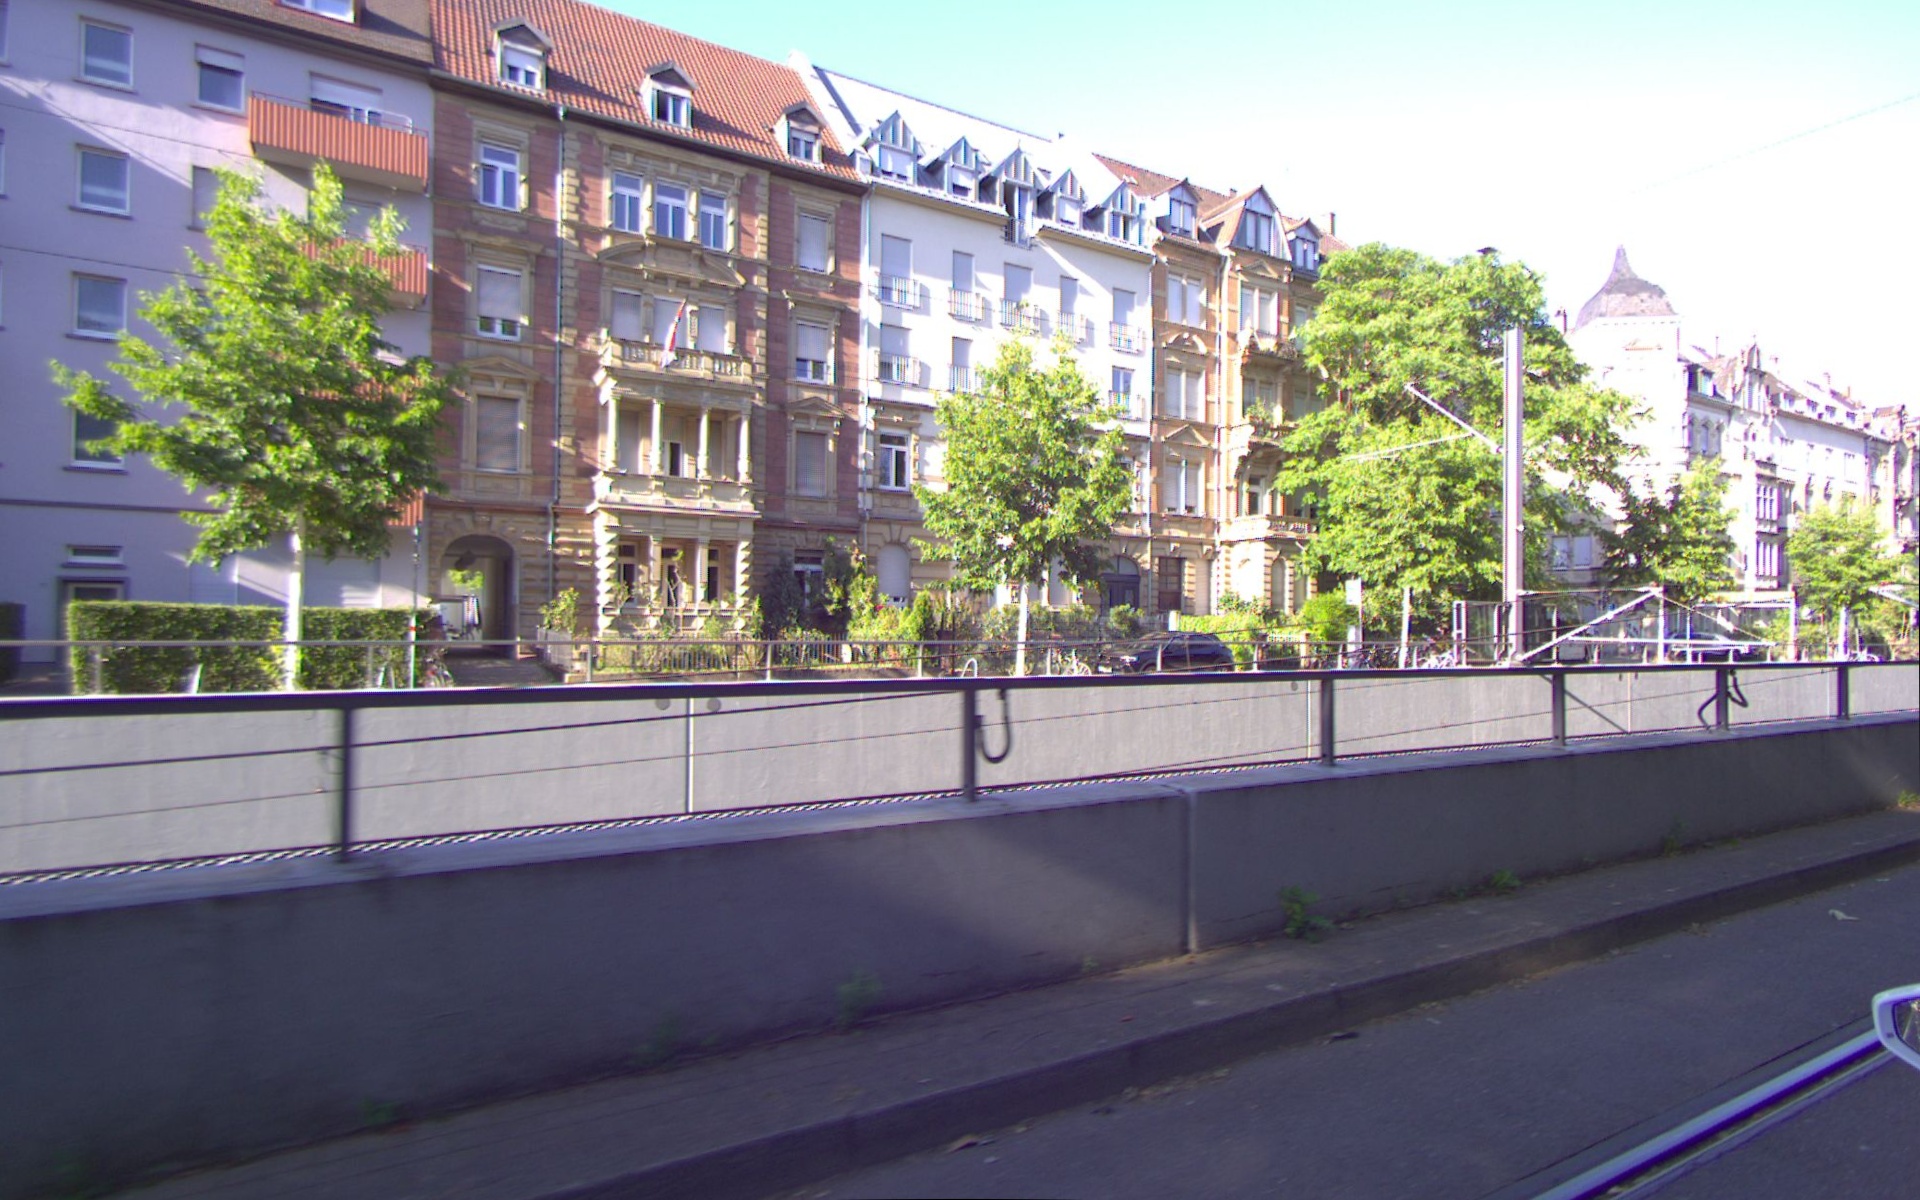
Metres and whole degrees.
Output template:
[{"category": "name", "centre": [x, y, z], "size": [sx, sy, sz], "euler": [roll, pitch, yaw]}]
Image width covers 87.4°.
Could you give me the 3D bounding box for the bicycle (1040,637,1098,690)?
[{"category": "bicycle", "centre": [2.754, 1.595, 25.597], "size": [0.555, 1.194, 1.801], "euler": [1, 1, -27]}]

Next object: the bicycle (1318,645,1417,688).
[{"category": "bicycle", "centre": [12.537, 2.033, 30.965], "size": [2.735, 1.113, 0.642], "euler": [2, 1, 28]}]

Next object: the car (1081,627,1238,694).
[{"category": "car", "centre": [5.372, 1.568, 26.957], "size": [3.956, 1.606, 1.822], "euler": [1, 1, -33]}]

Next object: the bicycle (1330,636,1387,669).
[{"category": "bicycle", "centre": [14.120, 1.832, 35.561], "size": [2.348, 1.113, 0.552], "euler": [1, 1, -31]}]

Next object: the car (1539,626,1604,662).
[{"category": "car", "centre": [35.101, 2.468, 57.592], "size": [4.447, 1.874, 1.975], "euler": [1, 1, -42]}]

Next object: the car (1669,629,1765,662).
[{"category": "car", "centre": [42.344, 2.534, 56.225], "size": [1.809, 1.646, 3.955], "euler": [1, 0, -39]}]

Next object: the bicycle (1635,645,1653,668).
[{"category": "bicycle", "centre": [31.913, 2.637, 46.882], "size": [0.447, 1.018, 1.942], "euler": [2, -2, 29]}]

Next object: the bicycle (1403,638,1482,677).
[{"category": "bicycle", "centre": [16.123, 1.905, 33.604], "size": [2.333, 1.113, 0.556], "euler": [2, 1, 30]}]

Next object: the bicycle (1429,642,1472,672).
[{"category": "bicycle", "centre": [16.597, 1.909, 34.001], "size": [1.246, 0.917, 0.538], "euler": [2, 1, 30]}]
